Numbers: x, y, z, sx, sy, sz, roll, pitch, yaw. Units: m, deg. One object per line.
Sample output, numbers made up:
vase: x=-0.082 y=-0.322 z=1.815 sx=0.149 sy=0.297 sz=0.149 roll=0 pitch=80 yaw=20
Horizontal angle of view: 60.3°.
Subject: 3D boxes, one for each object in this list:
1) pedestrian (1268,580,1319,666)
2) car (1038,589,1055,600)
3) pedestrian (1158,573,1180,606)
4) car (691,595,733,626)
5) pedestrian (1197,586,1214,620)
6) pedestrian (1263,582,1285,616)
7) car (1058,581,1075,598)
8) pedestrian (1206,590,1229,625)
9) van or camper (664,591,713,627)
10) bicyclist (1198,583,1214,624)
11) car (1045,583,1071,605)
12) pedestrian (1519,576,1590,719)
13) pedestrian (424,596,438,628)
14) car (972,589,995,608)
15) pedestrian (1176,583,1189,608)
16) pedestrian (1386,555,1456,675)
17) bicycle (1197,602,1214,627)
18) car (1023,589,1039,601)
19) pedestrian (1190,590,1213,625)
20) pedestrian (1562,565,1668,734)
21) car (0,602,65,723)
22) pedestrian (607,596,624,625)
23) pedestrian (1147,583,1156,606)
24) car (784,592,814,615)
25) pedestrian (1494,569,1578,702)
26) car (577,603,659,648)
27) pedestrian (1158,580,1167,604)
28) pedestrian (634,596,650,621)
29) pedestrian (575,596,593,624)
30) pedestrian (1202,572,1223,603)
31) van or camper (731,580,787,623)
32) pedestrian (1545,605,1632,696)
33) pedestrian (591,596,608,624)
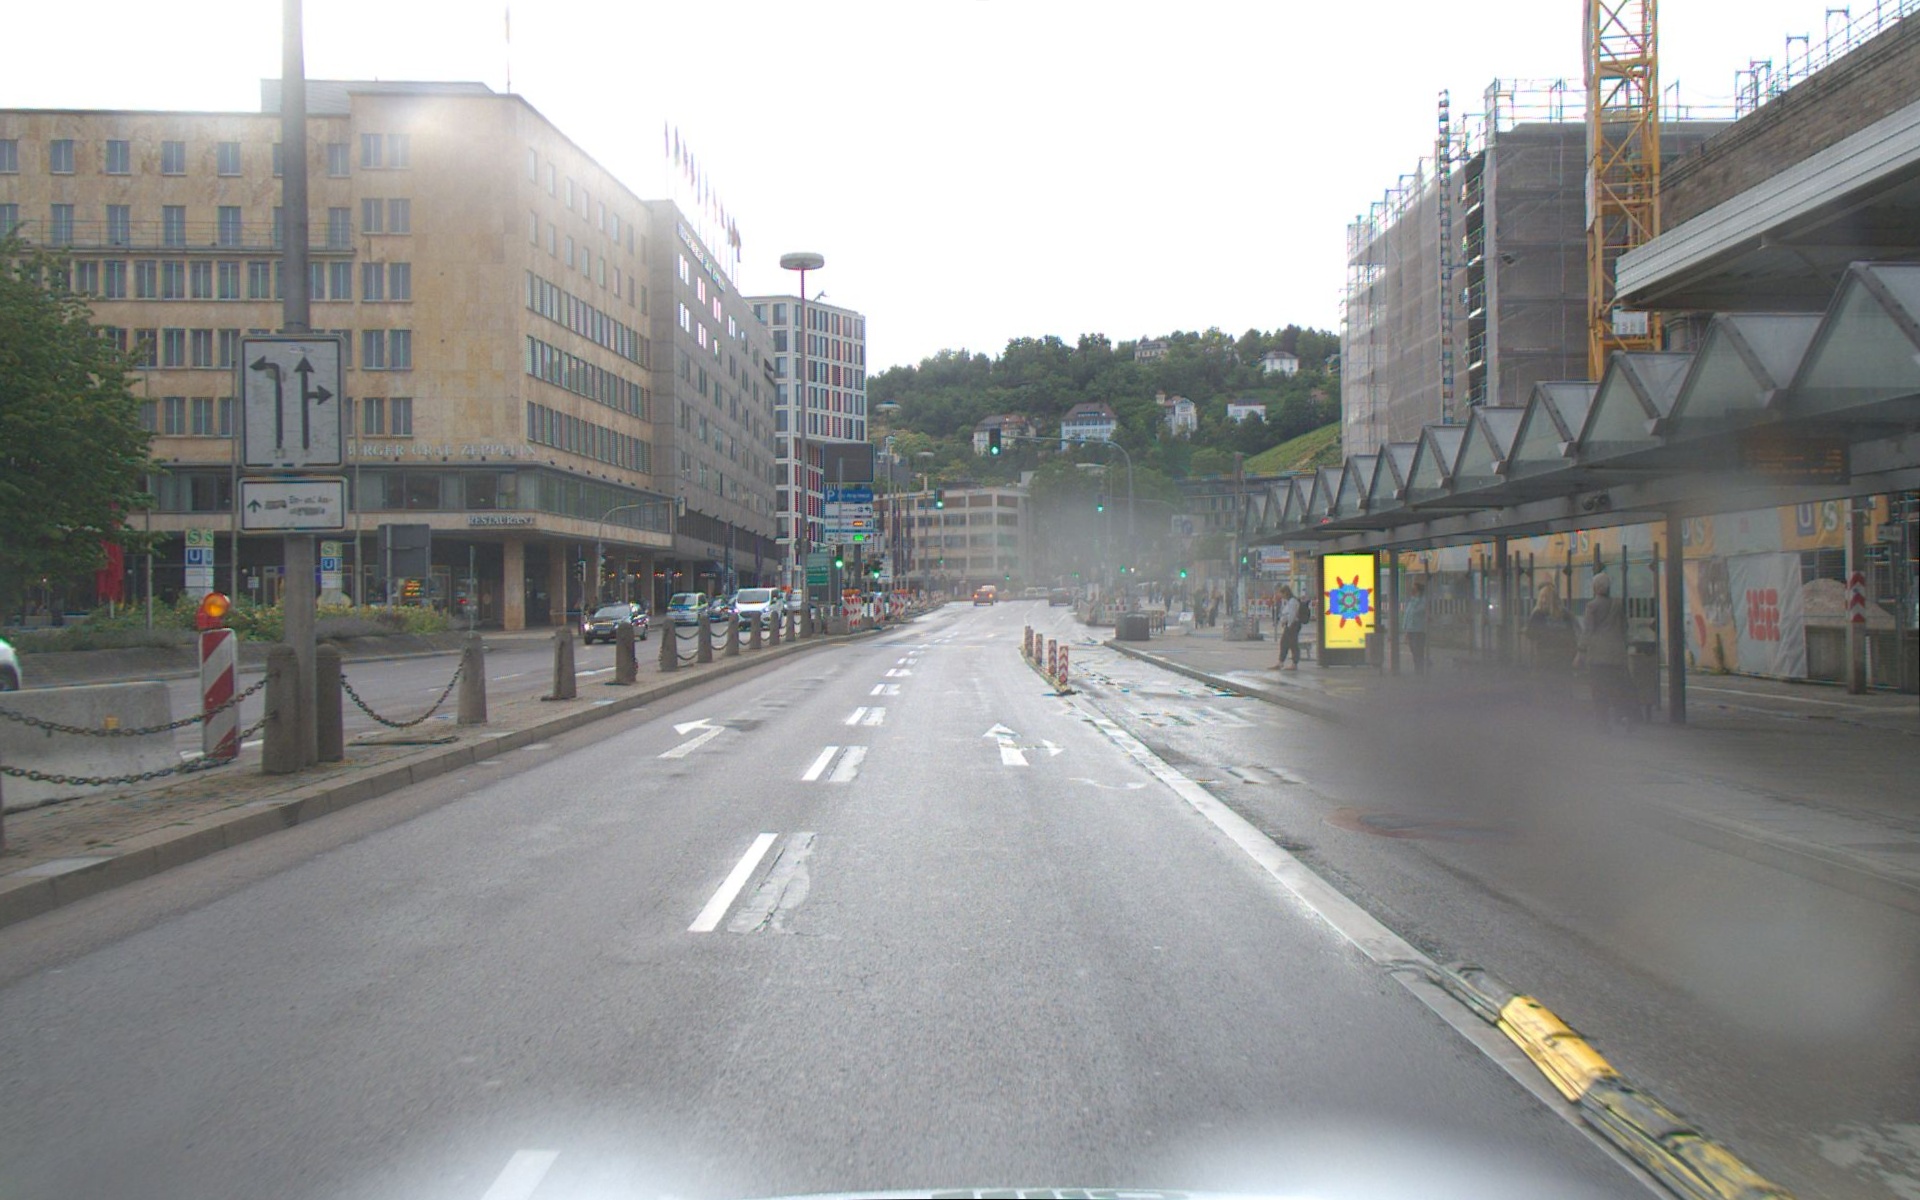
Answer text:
pedestrian: x=6.788 y=0.461 z=33.672 sx=0.693 sy=1.709 sz=0.717 roll=-1 pitch=0 yaw=-27
car: x=11.084 y=-0.721 z=213.011 sx=1.953 sy=1.467 sz=4.000 roll=1 pitch=0 yaw=0
pedestrian: x=12.050 y=-0.599 z=95.564 sx=0.929 sy=1.873 sz=0.944 roll=-1 pitch=-1 yaw=32
car: x=-15.737 y=0.657 z=105.110 sx=1.952 sy=1.870 sz=4.001 roll=-1 pitch=0 yaw=2
pedestrian: x=13.467 y=0.165 z=90.775 sx=0.846 sy=1.873 sz=0.798 roll=-1 pitch=0 yaw=11
pedestrian: x=15.322 y=-0.022 z=80.699 sx=0.754 sy=1.636 sz=0.860 roll=-1 pitch=-1 yaw=-13
car: x=11.969 y=-1.146 z=186.453 sx=1.739 sy=1.668 sz=4.001 roll=-2 pitch=-2 yaw=2
pedestrian: x=12.059 y=0.337 z=77.352 sx=0.780 sy=1.636 sz=0.834 roll=-1 pitch=-1 yaw=30
van or camper: x=-16.133 y=0.533 z=98.545 sx=1.952 sy=2.049 sz=4.966 roll=-1 pitch=0 yaw=1
bicyclist: x=11.149 y=0.162 z=75.090 sx=0.688 sy=1.877 sz=0.968 roll=0 pitch=0 yaw=6
car: x=8.184 y=-0.477 z=137.926 sx=1.952 sy=1.736 sz=4.000 roll=-1 pitch=0 yaw=0
pedestrian: x=6.733 y=0.527 z=18.765 sx=0.510 sy=1.593 sz=0.729 roll=-1 pitch=0 yaw=-1
pedestrian: x=-27.520 y=0.628 z=86.064 sx=0.684 sy=1.673 sz=0.647 roll=-1 pitch=0 yaw=-18
car: x=2.139 y=-0.127 z=150.066 sx=1.953 sy=1.579 sz=3.999 roll=-1 pitch=0 yaw=-1
pedestrian: x=16.633 y=-0.351 z=123.844 sx=0.926 sy=1.873 sz=0.868 roll=-1 pitch=-1 yaw=8
pedestrian: x=8.190 y=0.266 z=29.411 sx=0.797 sy=2.086 sz=0.913 roll=1 pitch=0 yaw=-41
bicycle: x=11.144 y=0.653 z=75.039 sx=0.692 sy=1.068 sz=1.807 roll=0 pitch=1 yaw=6
car: x=8.475 y=-0.602 z=196.860 sx=1.782 sy=1.467 sz=4.000 roll=1 pitch=0 yaw=0
pedestrian: x=11.365 y=0.343 z=77.783 sx=0.780 sy=1.636 sz=0.834 roll=-1 pitch=-1 yaw=30
pedestrian: x=6.854 y=0.503 z=17.343 sx=0.747 sy=1.723 sz=0.822 roll=-1 pitch=0 yaw=-1
car: x=-13.739 y=0.893 z=21.189 sx=1.922 sy=1.591 sz=4.834 roll=-3 pitch=0 yaw=-1
pedestrian: x=-19.333 y=0.596 z=92.723 sx=0.706 sy=1.584 sz=0.895 roll=-1 pitch=0 yaw=3
pedestrian: x=15.313 y=-0.451 z=132.227 sx=0.673 sy=1.873 sz=0.615 roll=-1 pitch=-1 yaw=6
car: x=-12.107 y=0.256 z=124.754 sx=1.731 sy=1.637 sz=4.227 roll=-1 pitch=0 yaw=1
pedestrian: x=7.457 y=0.450 z=21.427 sx=0.791 sy=1.689 sz=0.804 roll=1 pitch=0 yaw=-1
car: x=-13.206 y=0.975 z=64.117 sx=1.952 sy=1.645 sz=4.979 roll=-1 pitch=0 yaw=2
pedestrian: x=16.169 y=-0.649 z=132.173 sx=0.673 sy=1.873 sz=0.615 roll=-1 pitch=-1 yaw=6
pedestrian: x=-20.132 y=0.543 z=104.796 sx=0.778 sy=1.553 sz=0.916 roll=-1 pitch=0 yaw=3
pedestrian: x=-21.092 y=0.557 z=92.821 sx=0.706 sy=1.584 sz=1.005 roll=-1 pitch=0 yaw=3
pedestrian: x=15.392 y=-0.775 z=100.693 sx=0.853 sy=1.873 sz=0.943 roll=-2 pitch=-1 yaw=44
van or camper: x=-9.751 y=0.084 z=80.635 sx=1.952 sy=2.049 sz=5.190 roll=-1 pitch=0 yaw=2
pedestrian: x=8.895 y=0.702 z=23.419 sx=0.894 sy=1.252 sz=0.840 roll=1 pitch=0 yaw=-1
pedestrian: x=-20.249 y=0.571 z=92.982 sx=0.706 sy=1.584 sz=0.905 roll=-1 pitch=0 yaw=3
